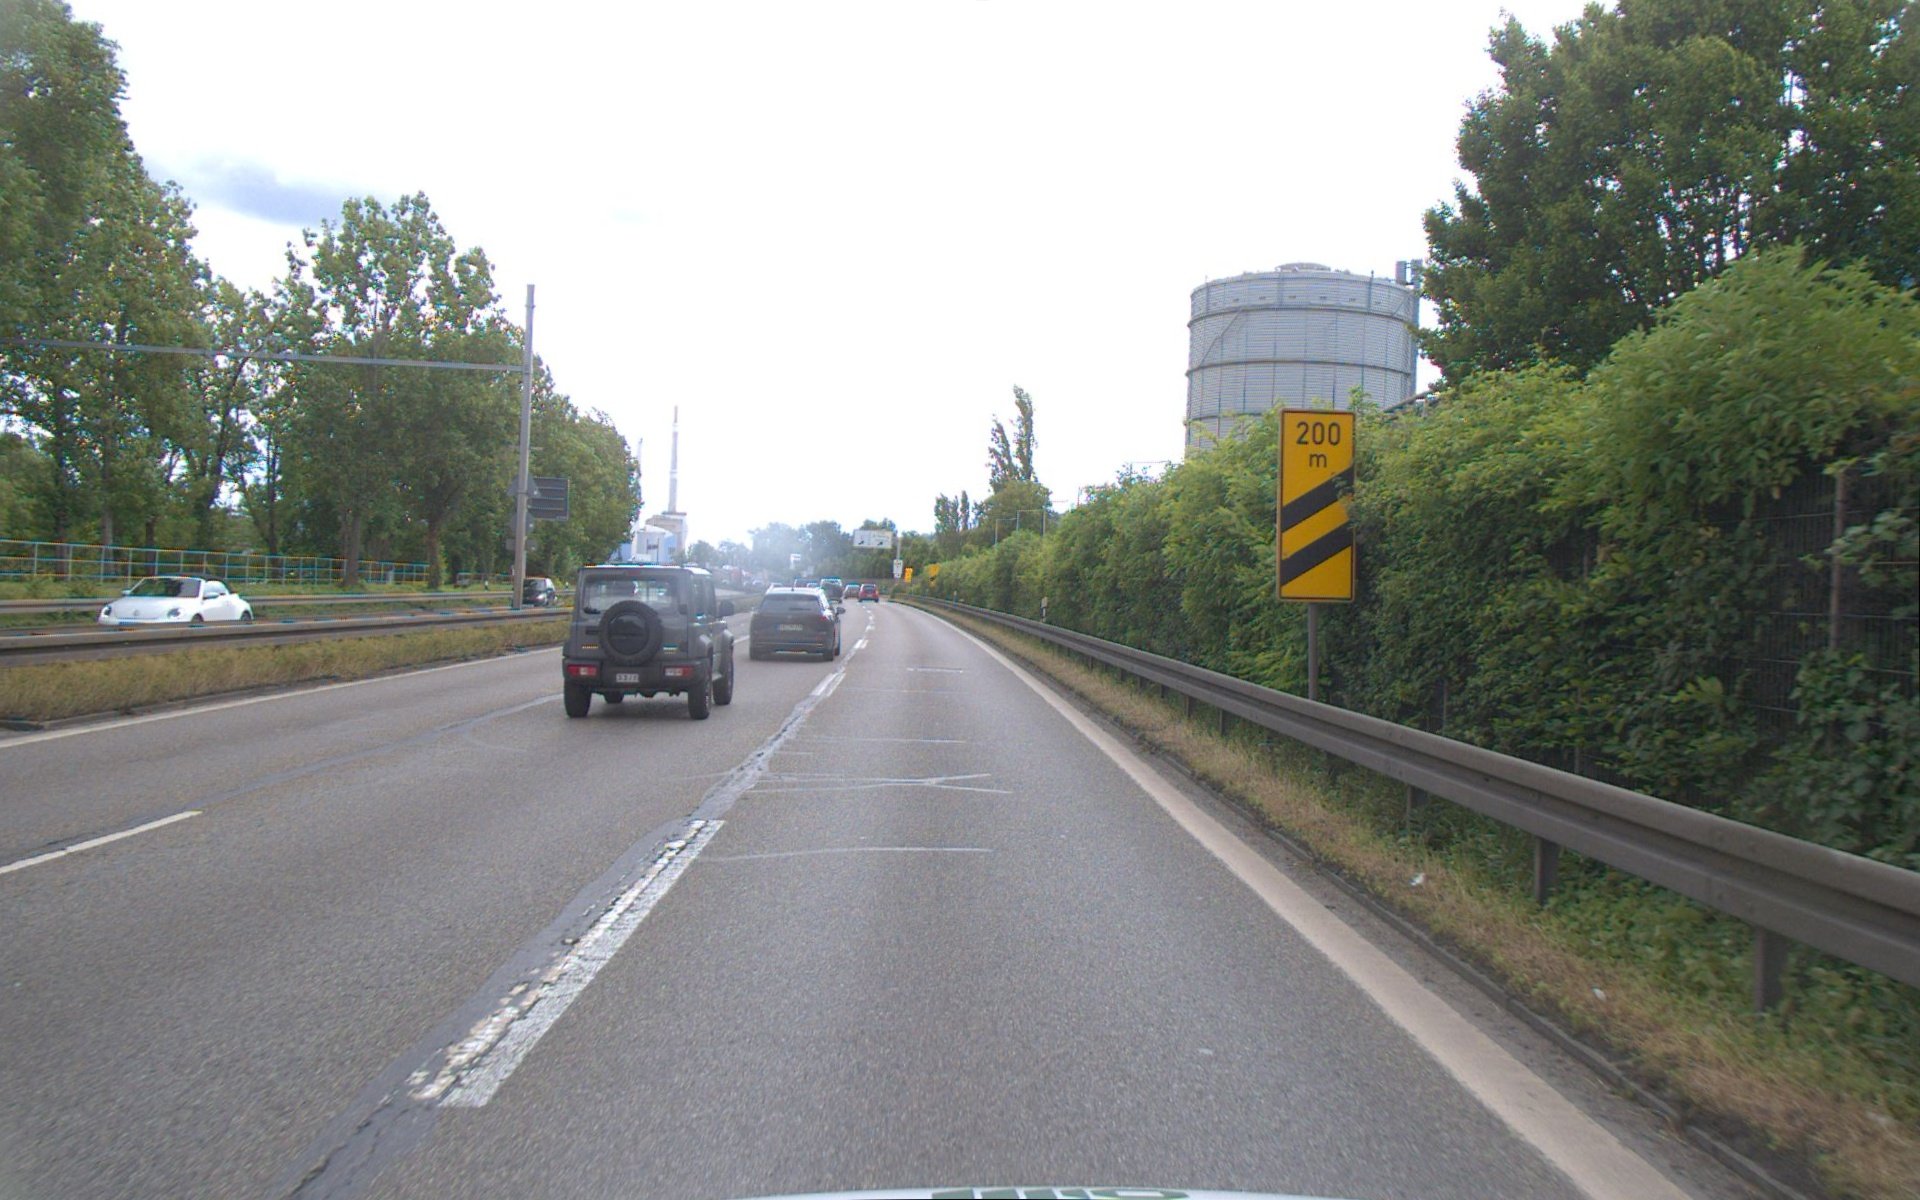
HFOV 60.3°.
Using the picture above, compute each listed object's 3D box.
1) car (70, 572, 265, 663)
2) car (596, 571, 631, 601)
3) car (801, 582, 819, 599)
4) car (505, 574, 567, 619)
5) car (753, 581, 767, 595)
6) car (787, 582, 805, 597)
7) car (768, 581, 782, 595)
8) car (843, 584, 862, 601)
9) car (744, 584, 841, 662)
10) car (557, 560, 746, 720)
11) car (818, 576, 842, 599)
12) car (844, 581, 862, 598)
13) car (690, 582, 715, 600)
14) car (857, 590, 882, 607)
[{"bbox_3d":[-16.142,0.309,33.967,1.829,1.704,4.717,1,0,-2],"label":"car"},{"bbox_3d":[-23.423,-0.928,111.857,1.578,1.916,4.559,1,0,-3],"label":"car"},{"bbox_3d":[-18.298,-1.161,201.072,1.975,1.968,4.892,1,0,-8],"label":"car"},{"bbox_3d":[-18.076,-0.155,70.705,1.691,1.806,3.741,1,0,-1],"label":"car"},{"bbox_3d":[-31.048,-1.858,256.203,1.976,1.968,4.890,1,0,-9],"label":"car"},{"bbox_3d":[-21.844,-1.375,219.830,1.976,1.968,4.889,1,0,-10],"label":"car"},{"bbox_3d":[-24.034,-1.588,215.172,1.666,1.772,4.385,1,0,-8],"label":"car"},{"bbox_3d":[-11.077,-0.786,169.994,1.665,1.772,4.387,1,0,-7],"label":"car"},{"bbox_3d":[-3.542,0.423,34.729,1.810,1.448,4.894,3,0,-7],"label":"car"},{"bbox_3d":[-3.576,0.412,19.793,1.663,1.715,3.998,0,0,-3],"label":"car"},{"bbox_3d":[-10.210,-0.972,130.496,1.663,1.772,3.999,1,0,-2],"label":"car"},{"bbox_3d":[-11.067,-1.096,170.797,1.665,1.772,4.387,1,0,-6],"label":"car"},{"bbox_3d":[-21.670,-0.752,139.454,1.627,1.449,3.909,1,0,-3],"label":"car"},{"bbox_3d":[-7.974,-0.166,145.012,1.936,1.448,4.895,1,0,-6],"label":"car"}]
